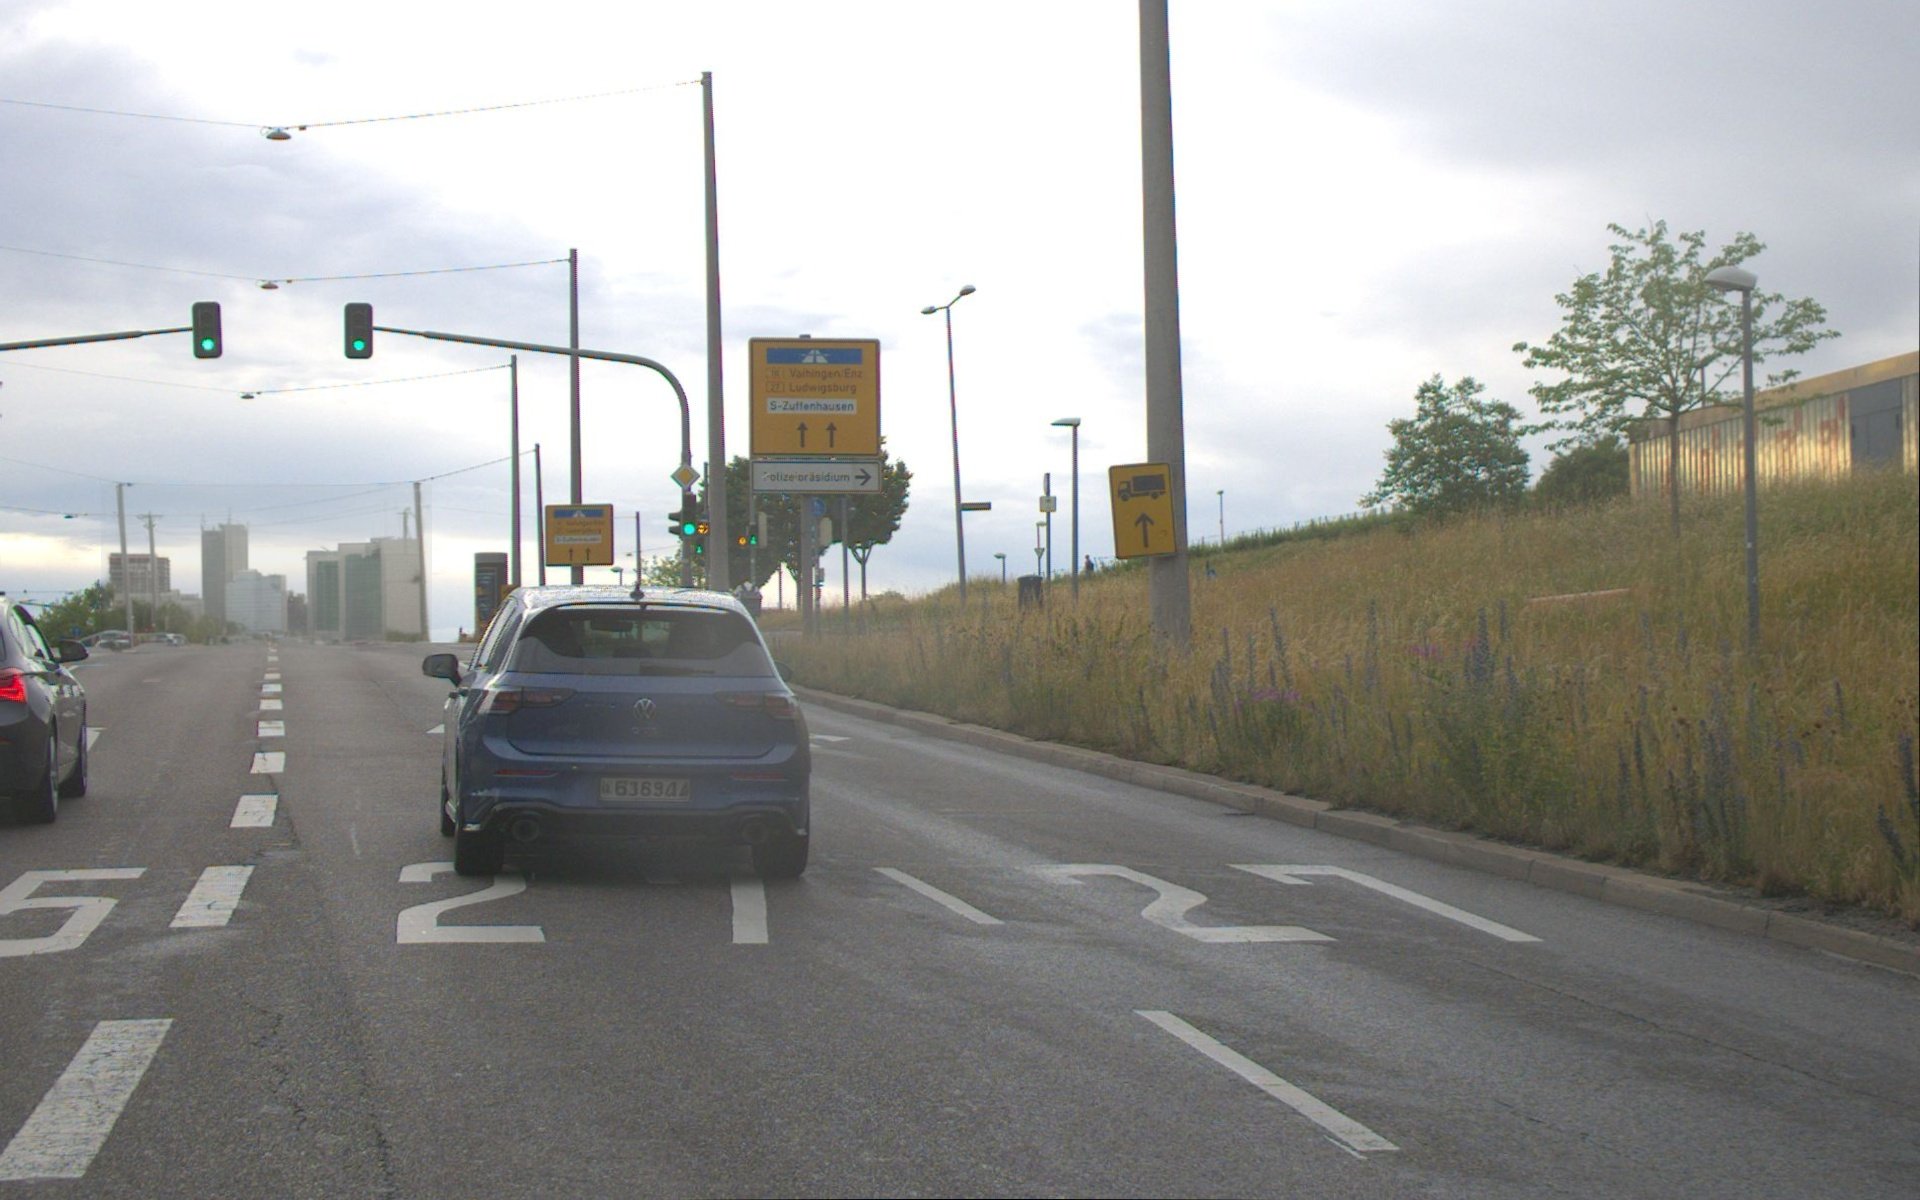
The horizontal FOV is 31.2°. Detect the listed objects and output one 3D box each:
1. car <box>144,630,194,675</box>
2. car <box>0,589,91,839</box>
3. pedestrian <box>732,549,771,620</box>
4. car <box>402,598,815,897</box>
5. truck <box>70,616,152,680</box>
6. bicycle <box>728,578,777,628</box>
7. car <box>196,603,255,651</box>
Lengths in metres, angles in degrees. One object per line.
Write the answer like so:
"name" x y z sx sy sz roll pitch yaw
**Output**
"car" -38.635 2.584 167.839 1.904 1.966 5.093 -1 -3 -19
"car" -6.583 0.663 21.841 1.868 1.456 3.977 0 0 -12
"pedestrian" -4.687 -0.344 77.189 0.632 1.565 0.896 -1 0 -19
"car" -1.977 0.704 18.276 1.837 1.389 4.001 1 0 -11
"truck" -45.249 2.580 183.122 2.666 3.209 6.548 2 -3 -28
"bicycle" -4.656 0.074 77.157 0.632 1.101 1.754 -1 0 -19
"car" -24.795 0.892 116.139 1.721 1.536 3.704 2 0 -9
